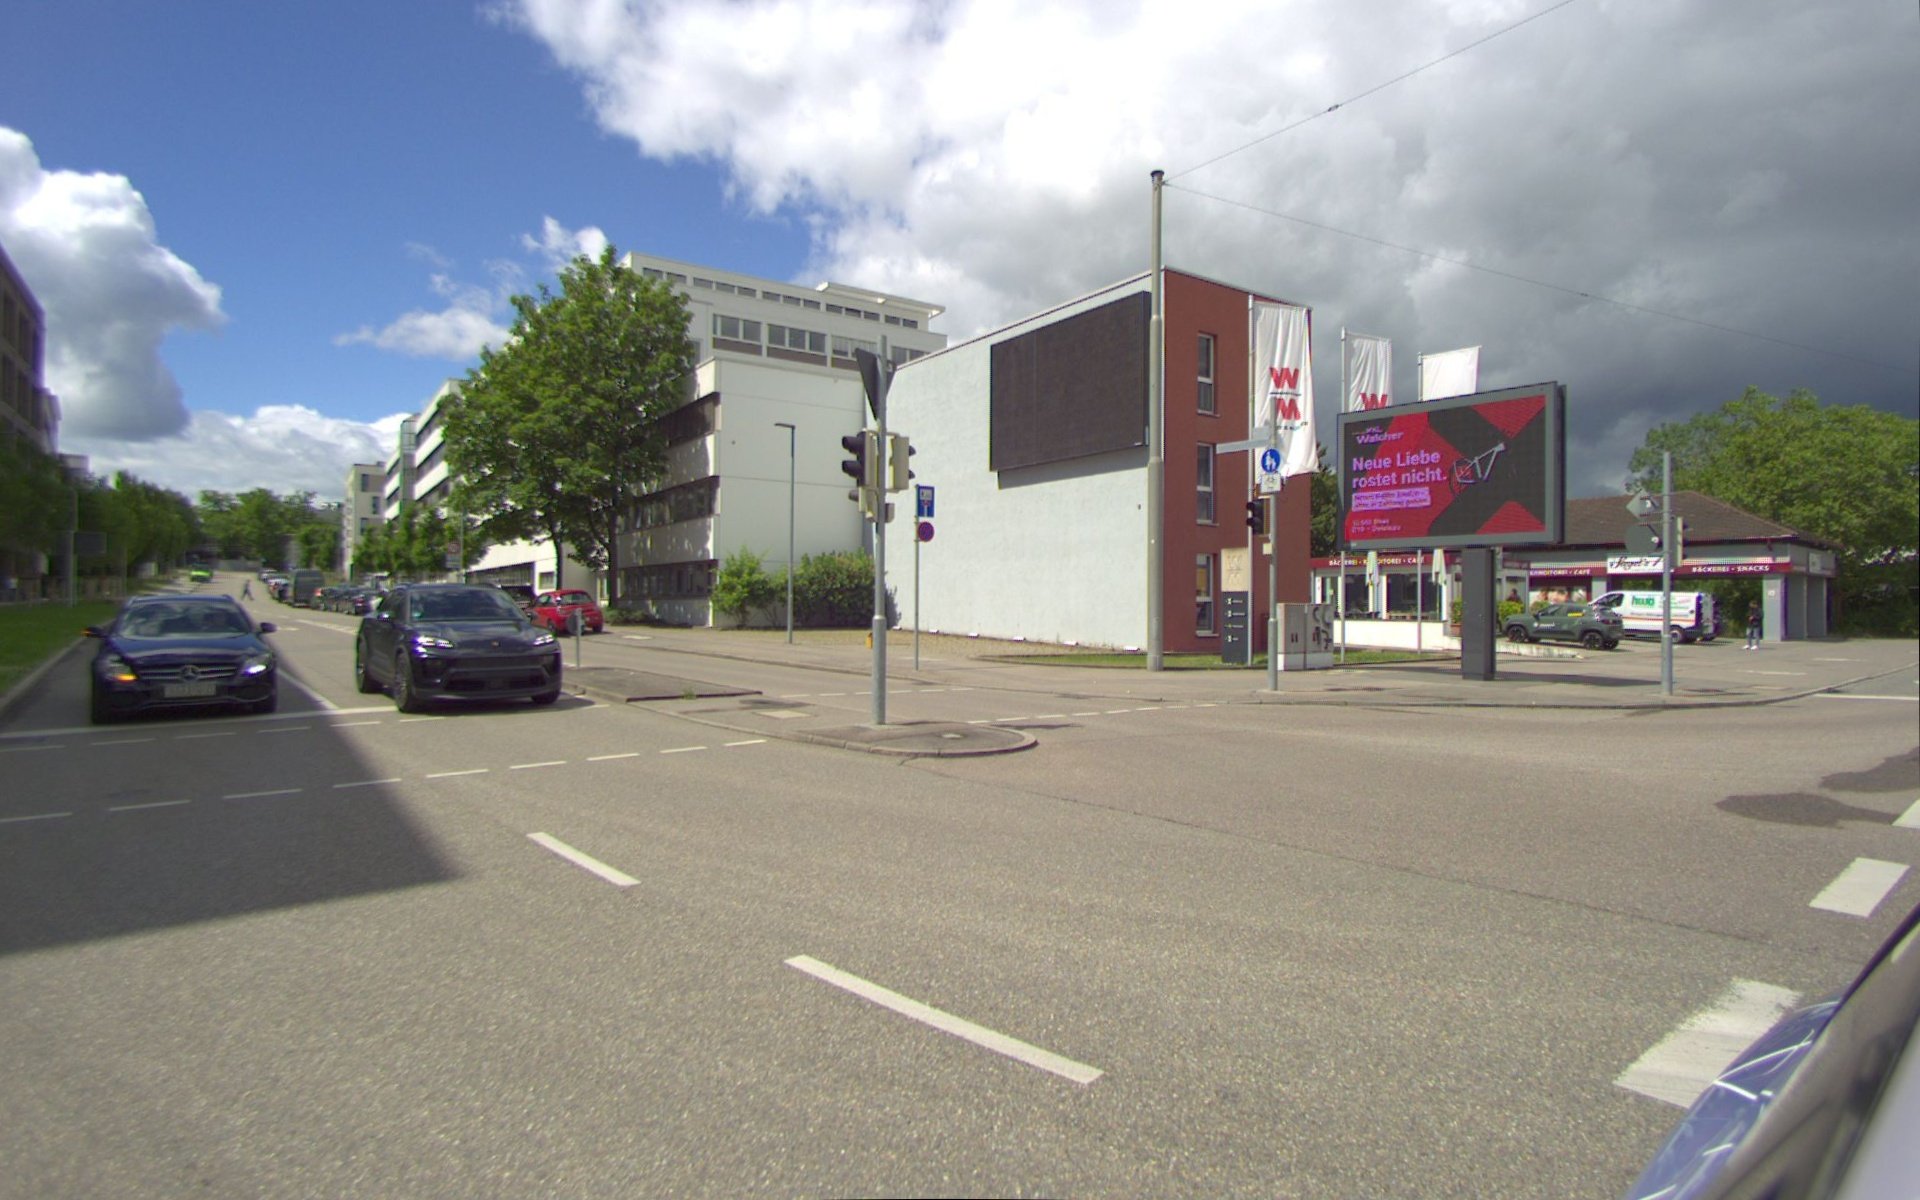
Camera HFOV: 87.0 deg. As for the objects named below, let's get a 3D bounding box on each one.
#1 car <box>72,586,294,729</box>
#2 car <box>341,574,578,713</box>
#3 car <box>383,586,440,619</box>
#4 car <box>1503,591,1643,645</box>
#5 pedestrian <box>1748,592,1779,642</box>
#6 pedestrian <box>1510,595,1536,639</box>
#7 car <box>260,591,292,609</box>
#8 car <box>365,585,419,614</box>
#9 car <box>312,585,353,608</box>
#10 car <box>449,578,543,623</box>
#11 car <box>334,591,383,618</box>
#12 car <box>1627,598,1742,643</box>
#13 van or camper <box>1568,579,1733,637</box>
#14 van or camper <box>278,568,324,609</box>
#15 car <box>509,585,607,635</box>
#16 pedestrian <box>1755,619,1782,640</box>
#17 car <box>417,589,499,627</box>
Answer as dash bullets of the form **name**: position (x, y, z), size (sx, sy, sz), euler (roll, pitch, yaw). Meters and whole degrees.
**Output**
- **car**: position (-10.056, 0.588, 13.071), size (1.964, 1.511, 4.533), euler (0, 0, -39)
- **car**: position (-7.261, 0.506, 14.409), size (1.965, 1.639, 4.648), euler (1, 0, -40)
- **car**: position (-25.526, 0.153, 47.049), size (1.472, 1.480, 3.528), euler (1, -2, -44)
- **car**: position (20.942, 0.575, 34.676), size (1.729, 1.503, 3.679), euler (0, 4, -37)
- **pedestrian**: position (28.127, 0.577, 35.435), size (0.726, 1.729, 0.713), euler (1, -1, -39)
- **pedestrian**: position (22.369, 0.665, 40.207), size (0.558, 1.729, 0.752), euler (1, 0, -13)
- **car**: position (-52.541, -0.013, 77.733), size (1.472, 1.356, 3.529), euler (1, 0, -44)
- **car**: position (-28.099, -0.005, 50.028), size (1.472, 1.357, 3.528), euler (1, -2, -44)
- **car**: position (-39.309, -0.182, 63.364), size (1.472, 1.357, 3.528), euler (1, -2, -44)
- **car**: position (-17.562, -0.003, 38.237), size (1.841, 1.590, 4.300), euler (1, 0, -45)
- **car**: position (-31.852, 0.239, 53.584), size (1.472, 1.357, 3.528), euler (1, -2, -44)
- **car**: position (29.621, 0.811, 41.421), size (1.804, 1.503, 3.458), euler (0, 4, -42)
- **van or camper**: position (27.090, 0.253, 39.850), size (2.172, 1.981, 4.910), euler (0, 3, -39)
- **van or camper**: position (-45.565, -0.790, 69.971), size (1.965, 2.772, 5.115), euler (1, 0, -41)
- **car**: position (-13.645, 0.300, 34.276), size (3.669, 1.479, 1.719), euler (1, 5, 45)
- **pedestrian**: position (49.651, 1.784, 62.145), size (0.945, 1.264, 0.888), euler (1, -1, -11)
- **car**: position (-21.276, 0.300, 42.821), size (1.841, 1.480, 4.300), euler (-1, 1, -45)
